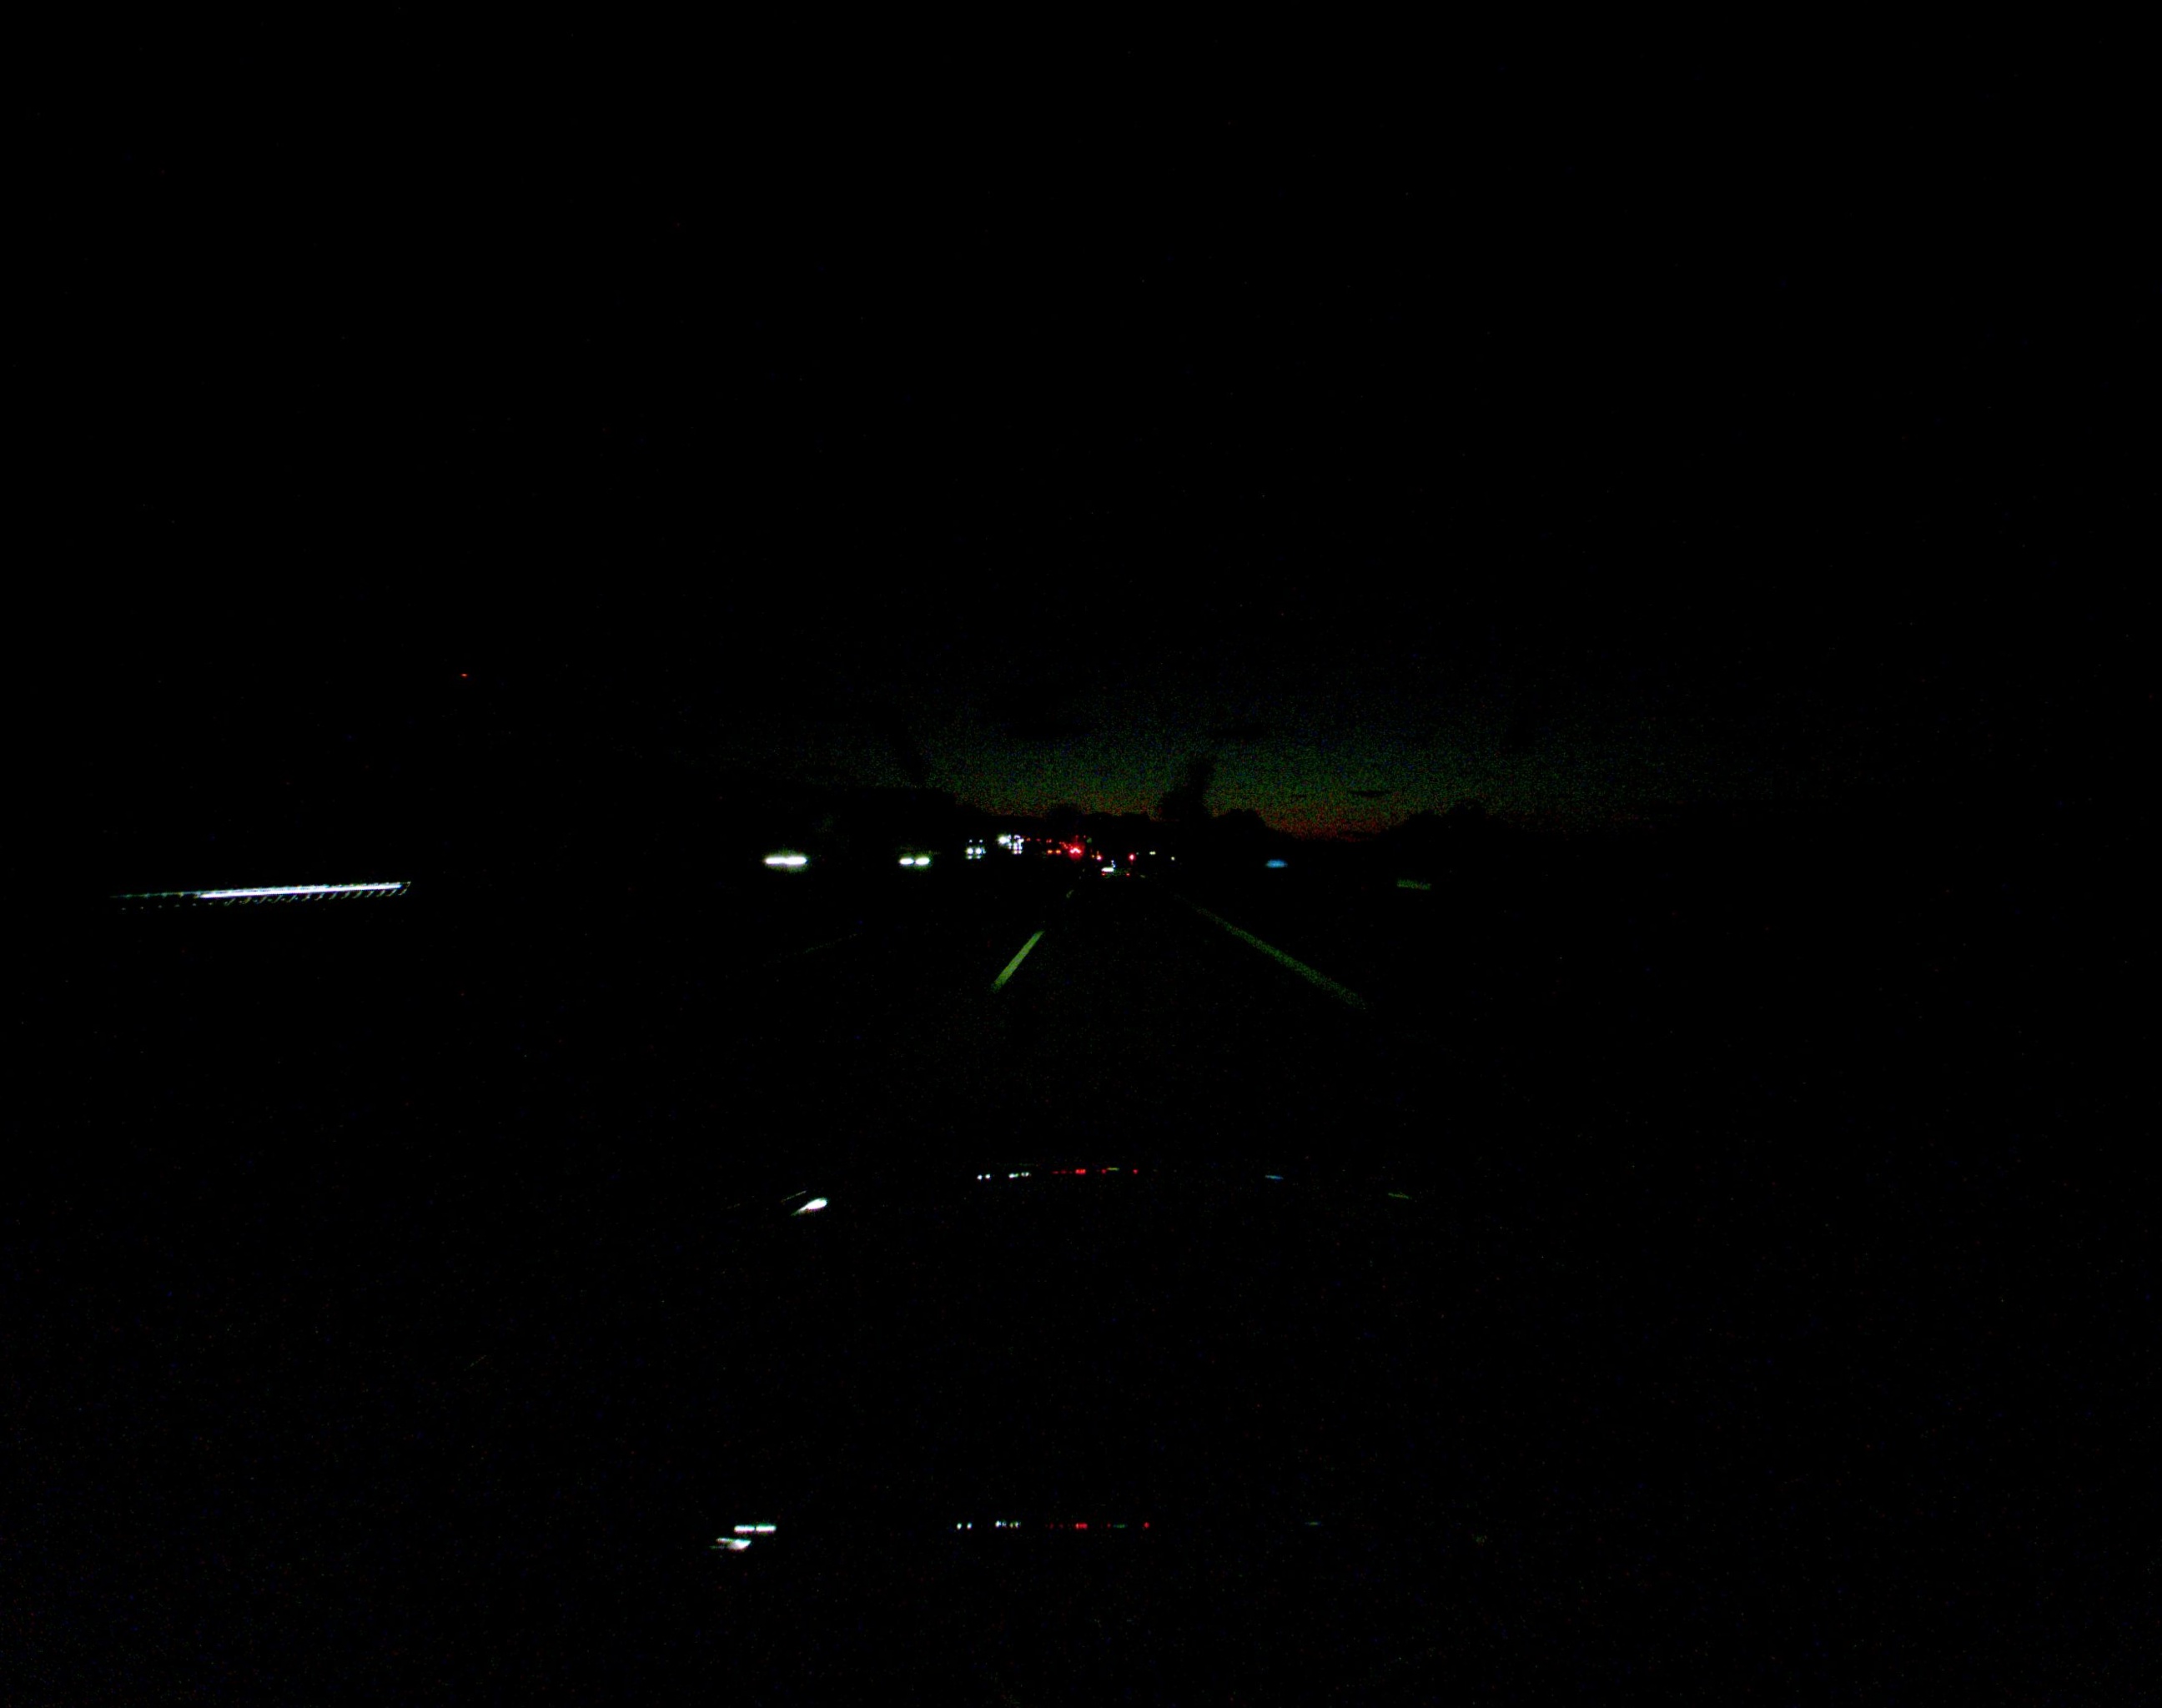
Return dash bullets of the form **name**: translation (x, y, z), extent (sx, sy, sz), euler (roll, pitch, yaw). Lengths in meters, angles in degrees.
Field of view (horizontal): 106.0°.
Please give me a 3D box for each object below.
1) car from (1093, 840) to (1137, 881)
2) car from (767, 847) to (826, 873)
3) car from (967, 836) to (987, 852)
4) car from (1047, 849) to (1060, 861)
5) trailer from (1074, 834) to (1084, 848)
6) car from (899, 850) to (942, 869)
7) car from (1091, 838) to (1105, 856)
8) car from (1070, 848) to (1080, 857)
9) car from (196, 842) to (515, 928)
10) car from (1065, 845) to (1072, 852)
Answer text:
- **car**: translation (1.729, 0.277, 43.122), extent (2.109, 2.000, 5.663), euler (0, 1, 0)
- **car**: translation (-20.601, 0.408, 59.289), extent (2.046, 1.781, 5.943), euler (0, 0, 1)
- **car**: translation (-20.571, -1.983, 161.026), extent (2.642, 3.085, 8.218), euler (0, 1, 1)
- **car**: translation (-4.447, 0.136, 130.461), extent (1.987, 1.816, 3.999), euler (0, -1, -1)
- **trailer**: translation (-0.780, -4.103, 265.188), extent (2.822, 4.256, 17.035), euler (0, -1, -2)
- **car**: translation (-13.854, 0.461, 70.706), extent (2.550, 1.555, 5.110), euler (0, 0, 1)
- **car**: translation (2.715, -1.127, 128.857), extent (2.024, 2.646, 5.728), euler (0, 1, 2)
- **car**: translation (-1.250, -0.284, 163.295), extent (1.987, 1.794, 3.999), euler (0, -1, 0)
- **car**: translation (-14.952, 0.565, 17.351), extent (2.111, 1.555, 5.110), euler (0, 0, 1)
- **car**: translation (-3.600, -1.524, 235.195), extent (1.988, 1.794, 3.998), euler (0, -1, -1)
